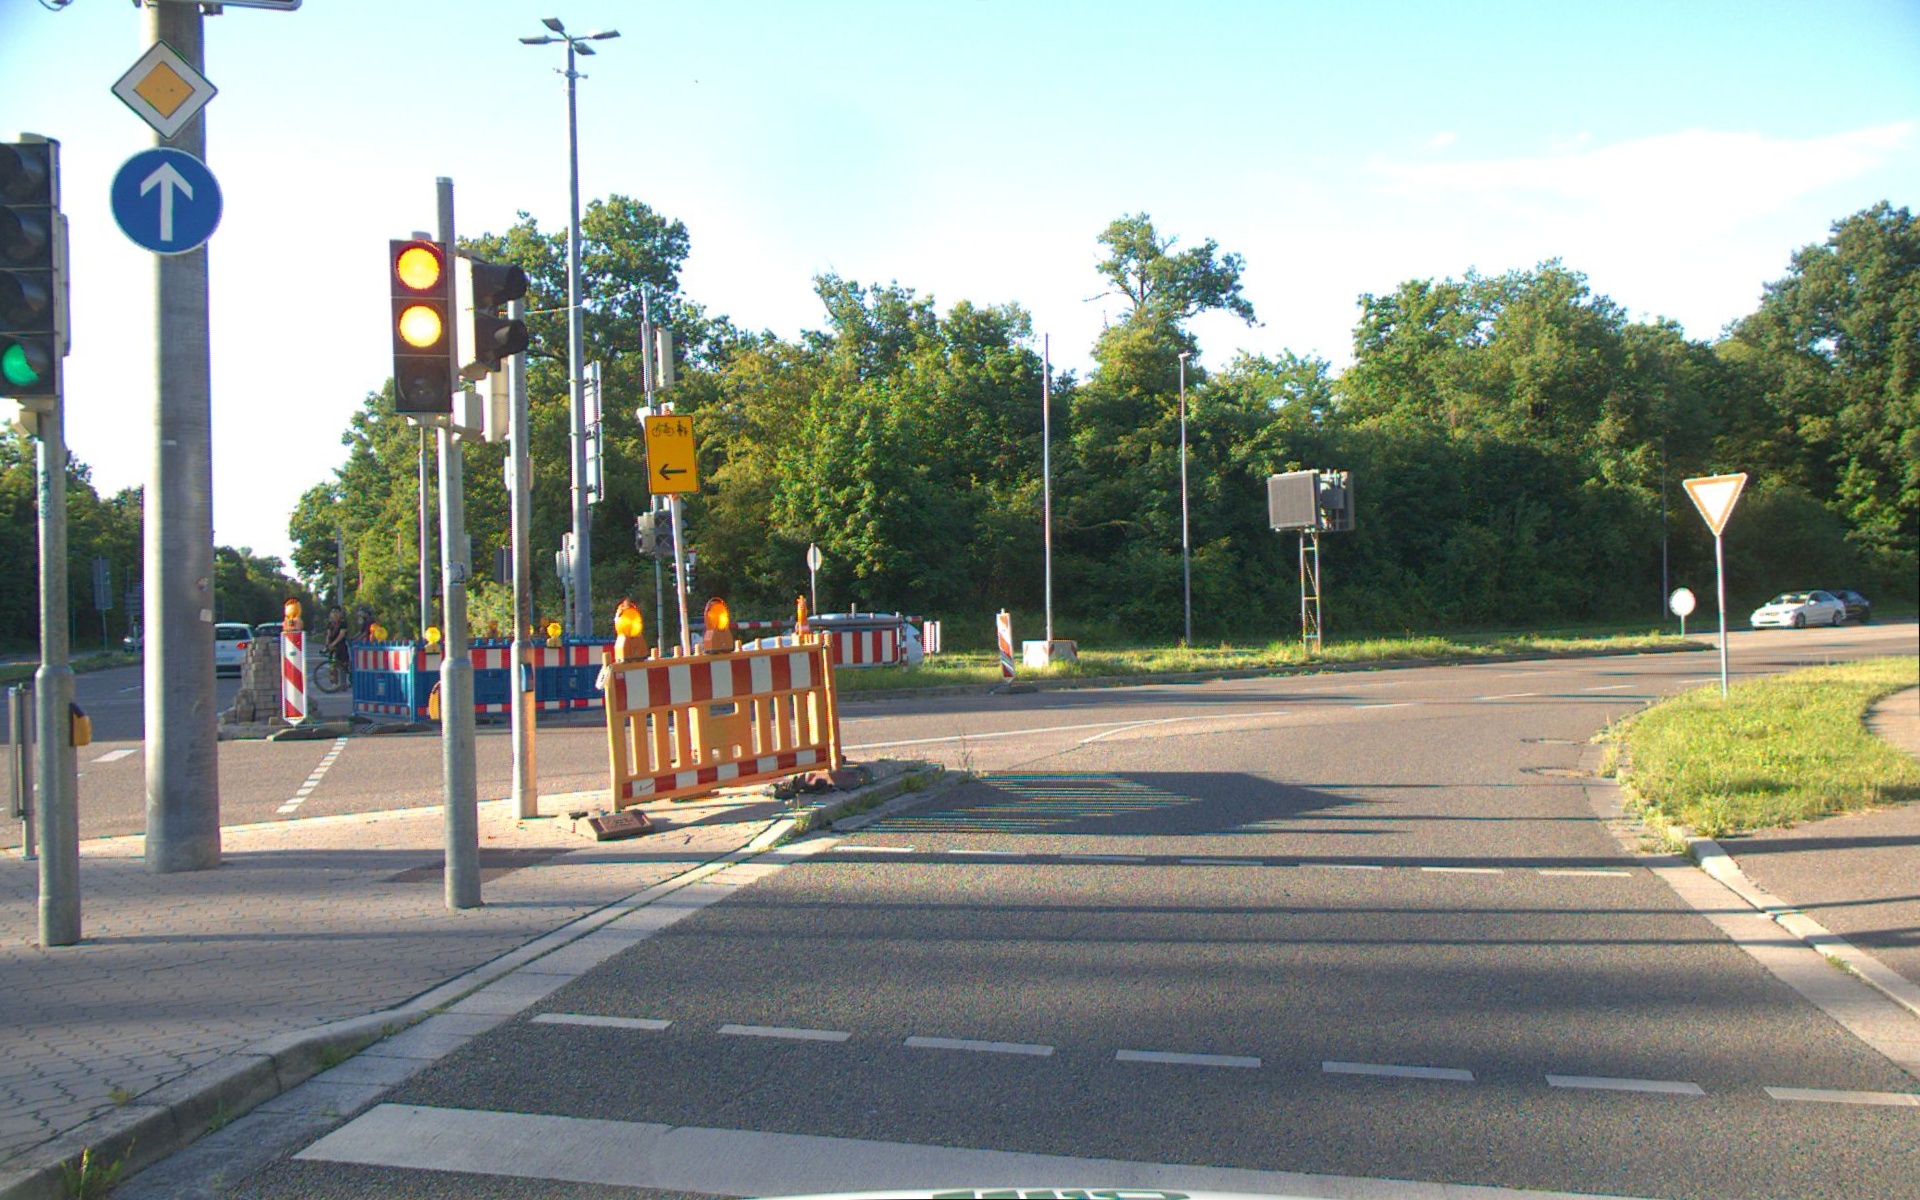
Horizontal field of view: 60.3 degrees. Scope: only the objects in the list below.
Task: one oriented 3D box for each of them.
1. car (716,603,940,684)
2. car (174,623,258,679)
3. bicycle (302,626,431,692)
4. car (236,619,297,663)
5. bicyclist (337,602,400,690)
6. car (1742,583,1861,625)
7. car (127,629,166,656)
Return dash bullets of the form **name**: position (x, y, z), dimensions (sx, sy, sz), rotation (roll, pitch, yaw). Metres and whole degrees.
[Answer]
- **car**: position (-2.936, 0.955, 37.383), dimensions (4.787, 1.608, 1.971), rotation (-1, 0, -40)
- **car**: position (-20.893, 1.411, 46.565), dimensions (1.913, 1.439, 3.974), rotation (-2, 0, -22)
- **bicycle**: position (-13.390, 1.314, 37.383), dimensions (0.950, 1.407, 2.626), rotation (-1, -1, 40)
- **car**: position (-26.114, 1.524, 62.368), dimensions (1.966, 1.563, 3.974), rotation (-2, 0, -22)
- **bicyclist**: position (-13.376, 1.028, 37.418), dimensions (0.950, 1.963, 1.011), rotation (-1, -1, 40)
- **car**: position (32.392, 0.132, 63.629), dimensions (4.747, 1.461, 1.977), rotation (-2, 0, -33)
- **car**: position (-57.293, 2.988, 116.545), dimensions (1.964, 1.820, 4.225), rotation (-2, 0, -19)
